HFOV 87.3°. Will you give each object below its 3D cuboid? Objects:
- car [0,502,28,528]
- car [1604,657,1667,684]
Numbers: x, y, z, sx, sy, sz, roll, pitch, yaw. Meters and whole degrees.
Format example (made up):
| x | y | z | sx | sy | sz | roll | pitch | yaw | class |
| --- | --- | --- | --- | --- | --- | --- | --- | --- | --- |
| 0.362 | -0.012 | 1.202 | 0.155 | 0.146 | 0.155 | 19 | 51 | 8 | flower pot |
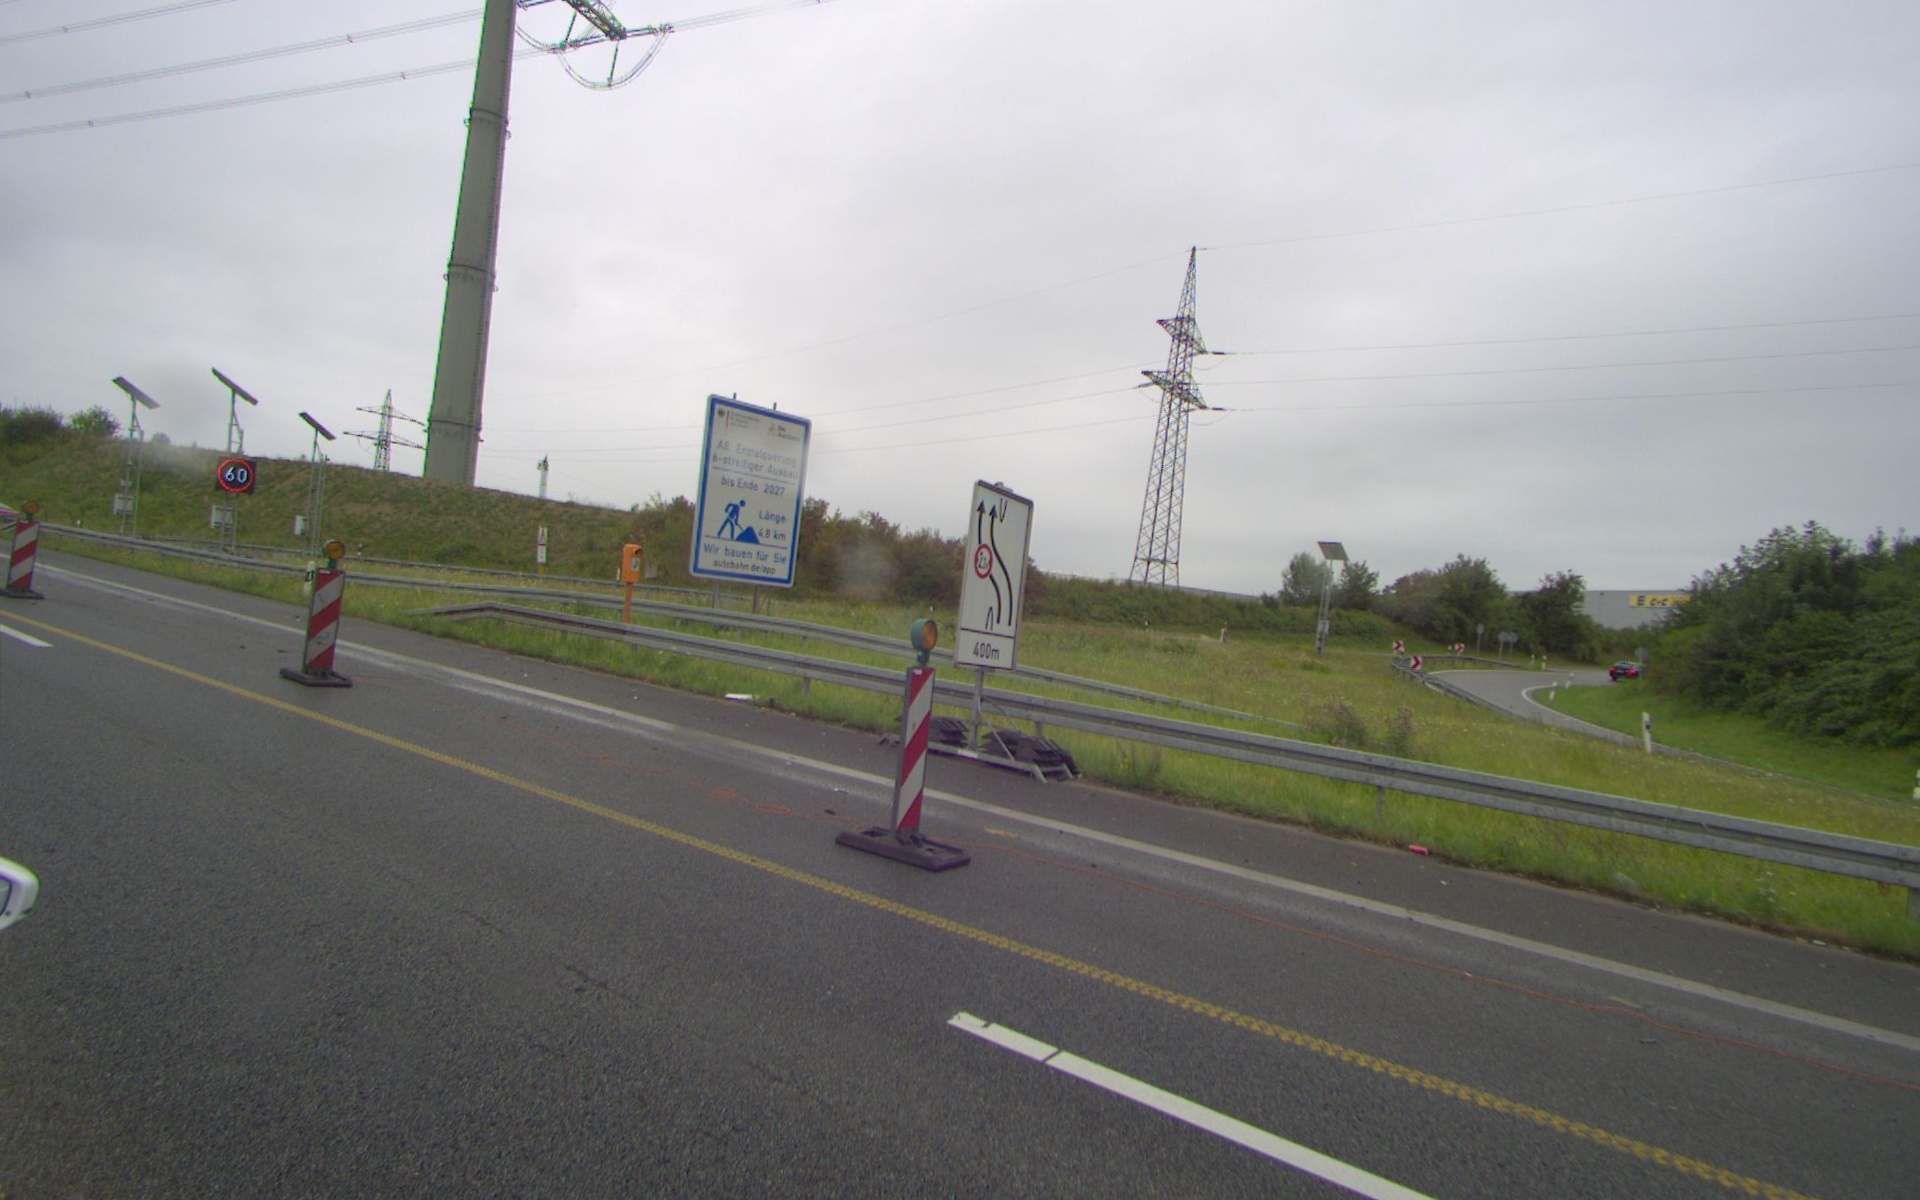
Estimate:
| x | y | z | sx | sy | sz | roll | pitch | yaw | class |
| --- | --- | --- | --- | --- | --- | --- | --- | --- | --- |
| -52.531 | -4.741 | 54.406 | 3.834 | 1.176 | 1.487 | 7 | 1 | 20 | car |
| 49.817 | 5.221 | 74.198 | 4.544 | 1.466 | 1.984 | 7 | 0 | -31 | car |
